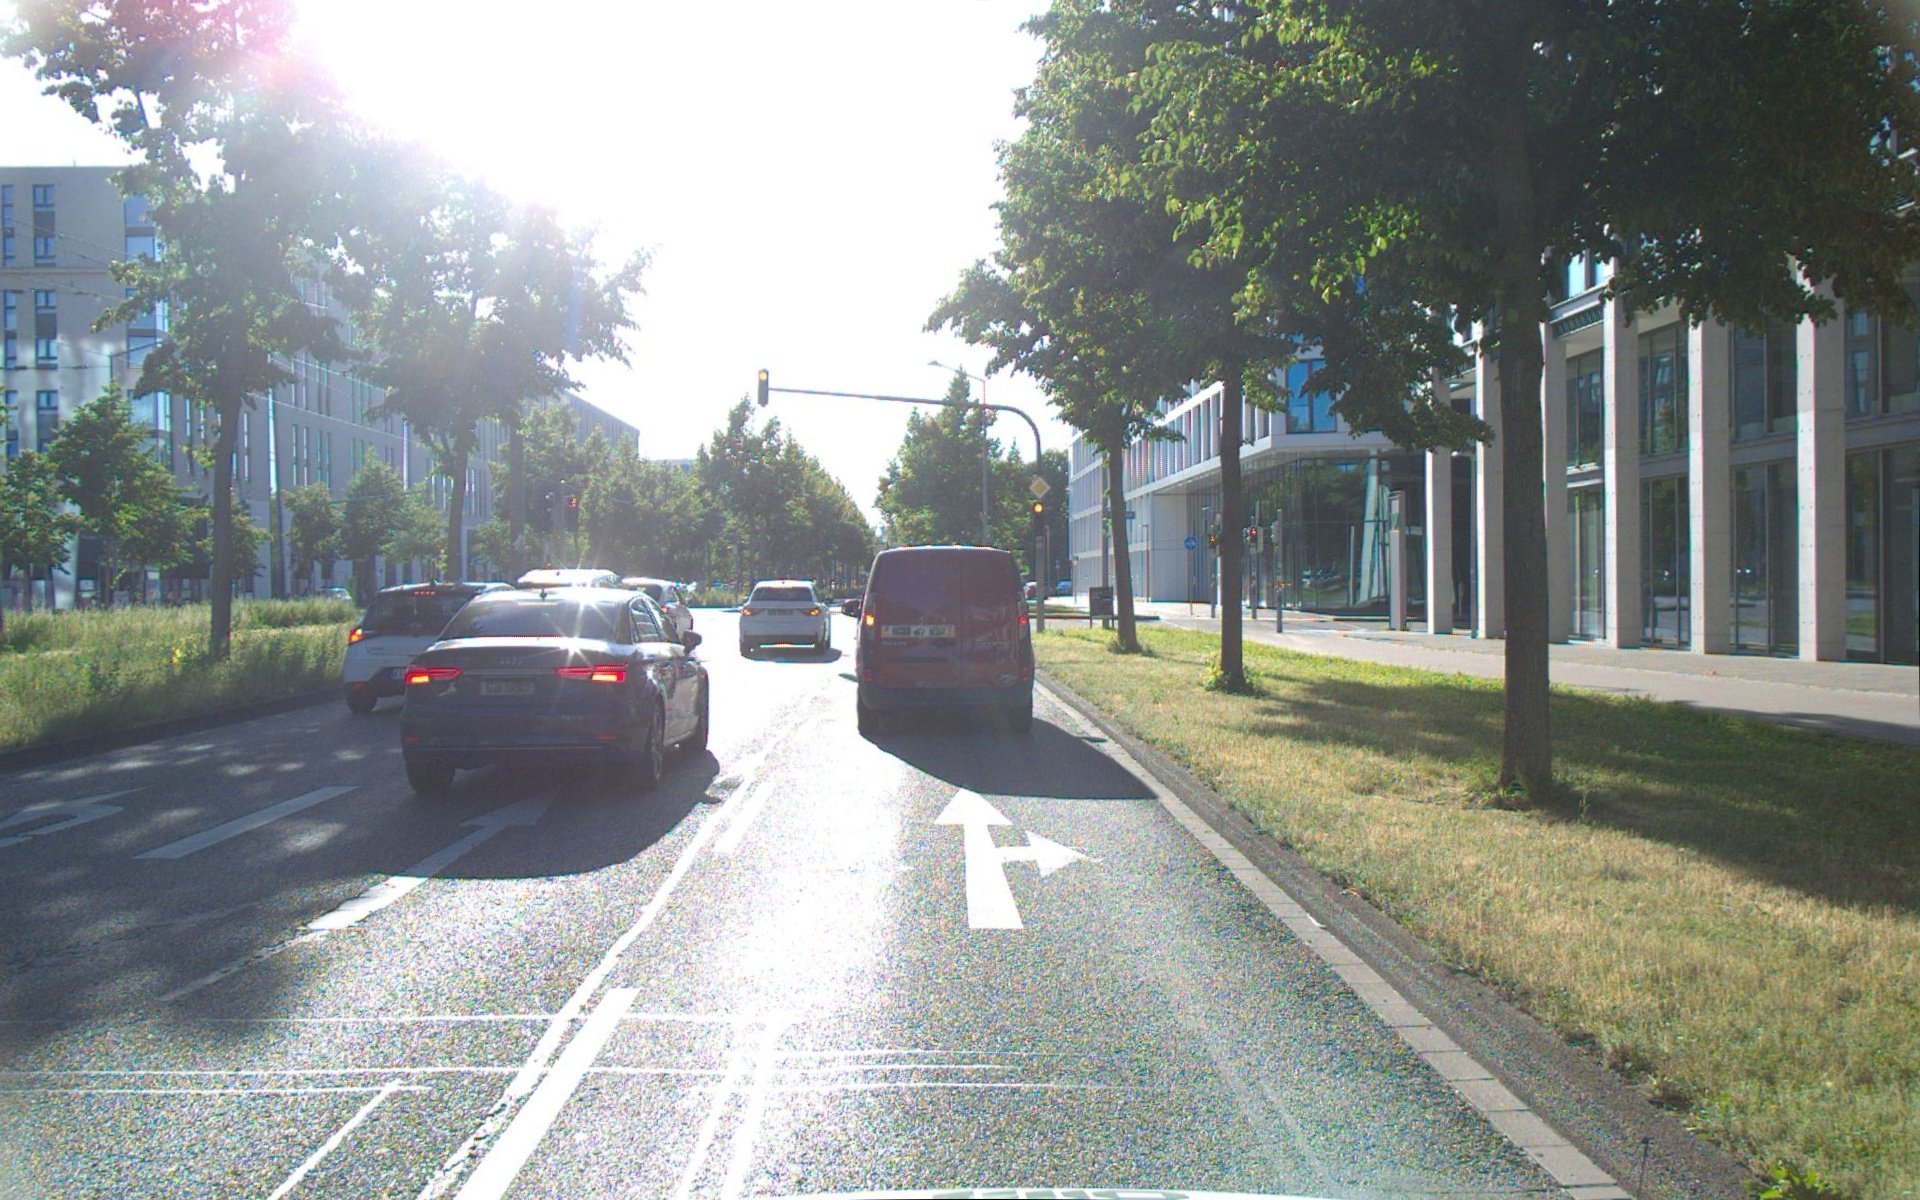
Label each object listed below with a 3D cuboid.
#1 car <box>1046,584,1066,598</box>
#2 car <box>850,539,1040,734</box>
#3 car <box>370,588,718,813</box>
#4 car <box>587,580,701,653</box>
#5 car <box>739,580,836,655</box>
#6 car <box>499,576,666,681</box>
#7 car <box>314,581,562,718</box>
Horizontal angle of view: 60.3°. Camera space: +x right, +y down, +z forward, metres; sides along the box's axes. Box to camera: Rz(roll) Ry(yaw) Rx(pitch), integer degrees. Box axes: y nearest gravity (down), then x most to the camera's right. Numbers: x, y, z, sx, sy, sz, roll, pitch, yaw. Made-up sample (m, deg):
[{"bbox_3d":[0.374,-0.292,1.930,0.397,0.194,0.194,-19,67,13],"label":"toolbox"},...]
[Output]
[{"bbox_3d":[9.811,-0.919,169.151,1.533,1.392,3.330,0,1,-4],"label":"car"},{"bbox_3d":[-0.124,0.350,17.488,1.761,1.808,4.000,0,0,0],"label":"car"},{"bbox_3d":[-2.967,0.627,12.675,1.686,1.390,4.145,0,1,-1],"label":"car"},{"bbox_3d":[-6.516,0.297,34.484,1.680,1.422,3.999,-1,1,-1],"label":"car"},{"bbox_3d":[-3.493,0.316,34.071,1.686,1.450,3.815,-1,1,-2],"label":"car"},{"bbox_3d":[-6.027,0.402,26.863,1.805,1.561,3.940,-1,1,0],"label":"car"},{"bbox_3d":[-6.131,0.514,19.920,1.904,1.466,3.997,0,1,-3],"label":"car"}]
